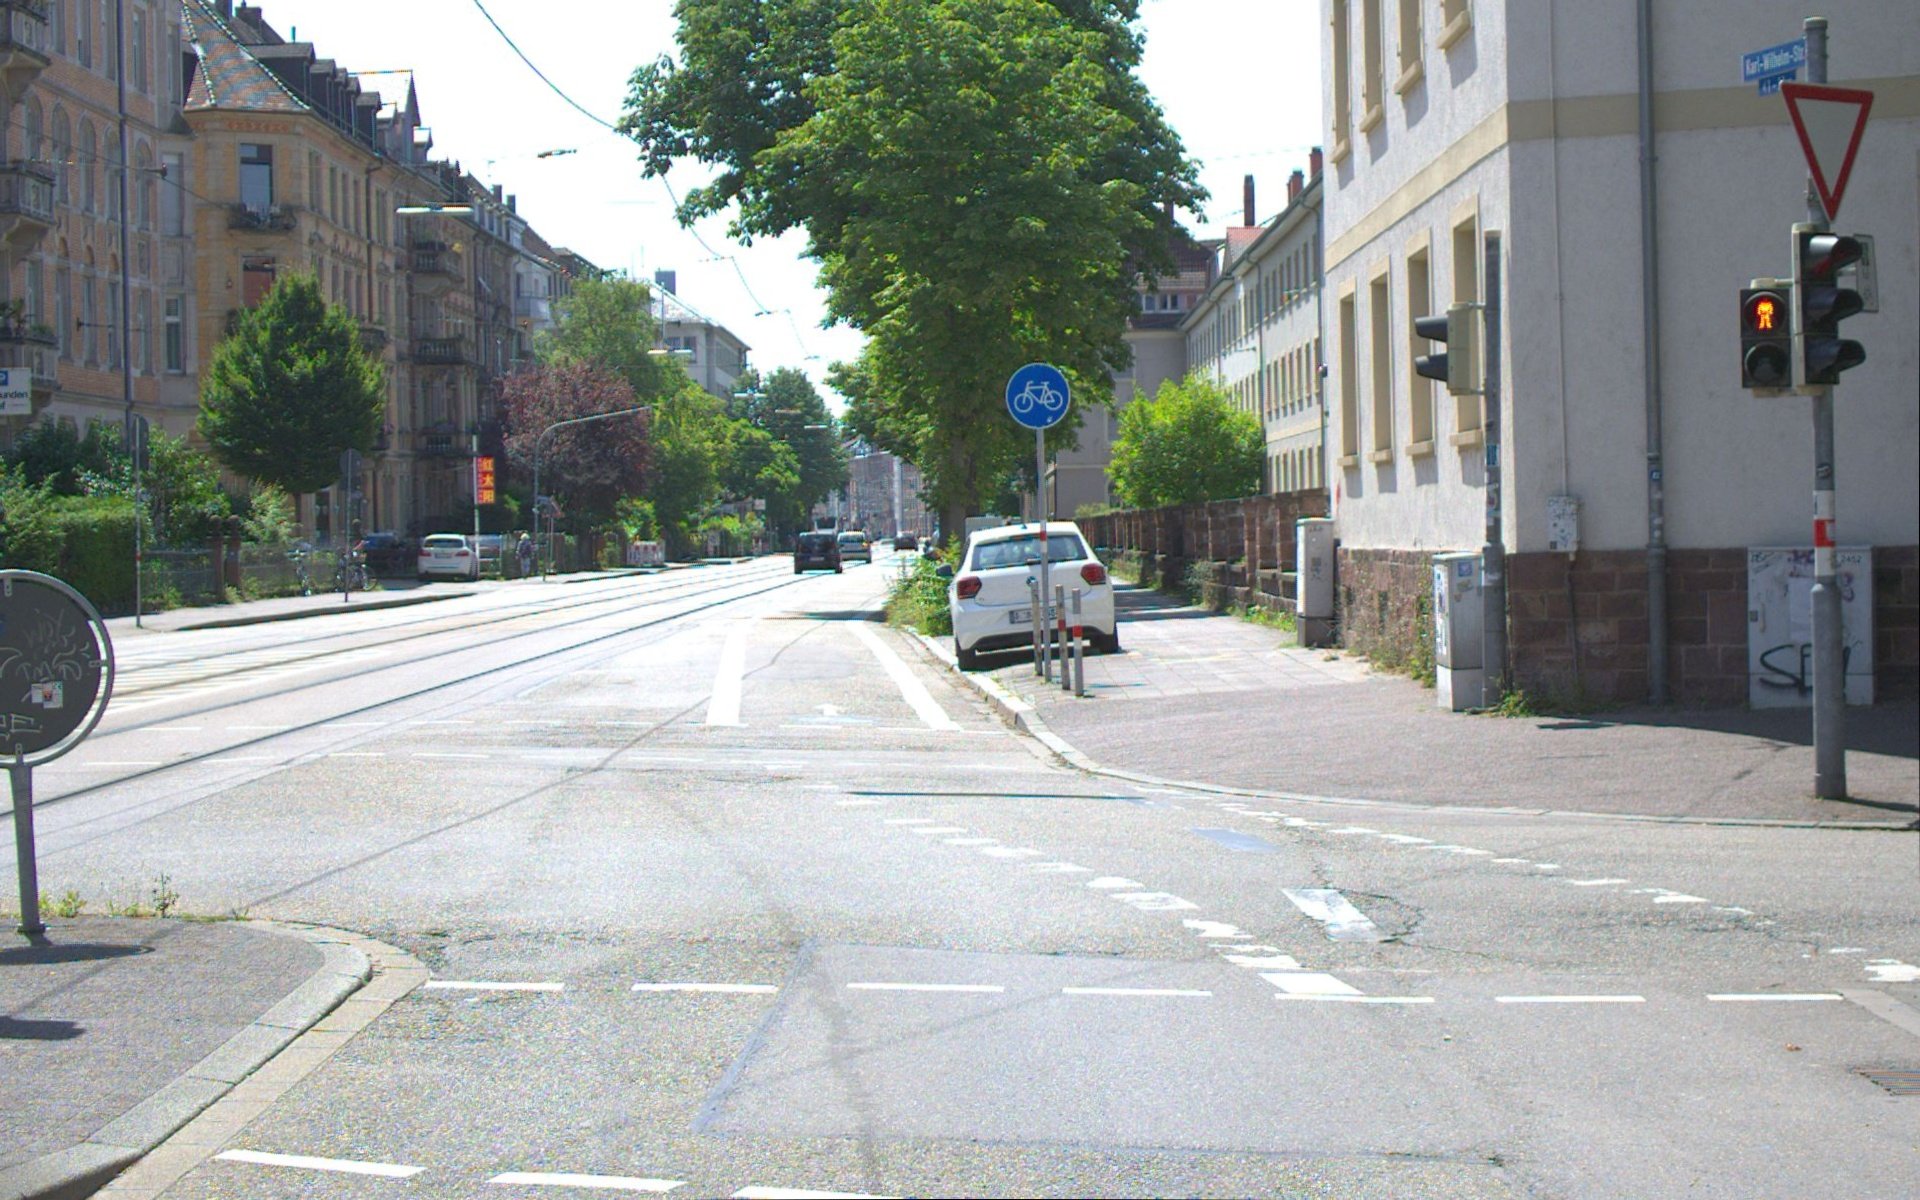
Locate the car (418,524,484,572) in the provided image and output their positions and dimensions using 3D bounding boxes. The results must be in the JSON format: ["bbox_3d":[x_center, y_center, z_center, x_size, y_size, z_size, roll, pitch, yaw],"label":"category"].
[{"bbox_3d":[-17.104,-1.757,115.689,1.684,1.467,3.939,-4,1,-3],"label":"car"}]

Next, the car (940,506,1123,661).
[{"bbox_3d":[0.720,-0.198,37.215,1.747,1.467,3.938,-4,1,-1],"label":"car"}]

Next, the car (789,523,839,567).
[{"bbox_3d":[-5.118,-1.937,120.747,1.525,1.439,3.365,-2,1,0],"label":"car"}]

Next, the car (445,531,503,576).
[{"bbox_3d":[-17.504,-1.679,123.846,1.628,1.467,3.564,-4,1,-3],"label":"car"}]

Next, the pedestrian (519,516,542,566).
[{"bbox_3d":[-14.788,-2.023,118.390,0.678,1.721,0.677,0,1,-1],"label":"pedestrian"}]

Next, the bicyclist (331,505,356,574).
[{"bbox_3d":[-15.763,-1.536,87.863,0.542,1.757,0.498,0,1,-1],"label":"bicyclist"}]

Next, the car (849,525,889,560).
[{"bbox_3d":[-4.207,-2.649,159.523,1.747,1.467,3.938,-4,1,-1],"label":"car"}]

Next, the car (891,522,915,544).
[{"bbox_3d":[-4.238,-4.981,255.511,1.628,1.467,3.564,-4,1,-3],"label":"car"}]

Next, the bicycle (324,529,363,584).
[{"bbox_3d":[-15.755,-1.126,87.875,0.577,1.383,2.501,0,1,-1],"label":"bicycle"}]
